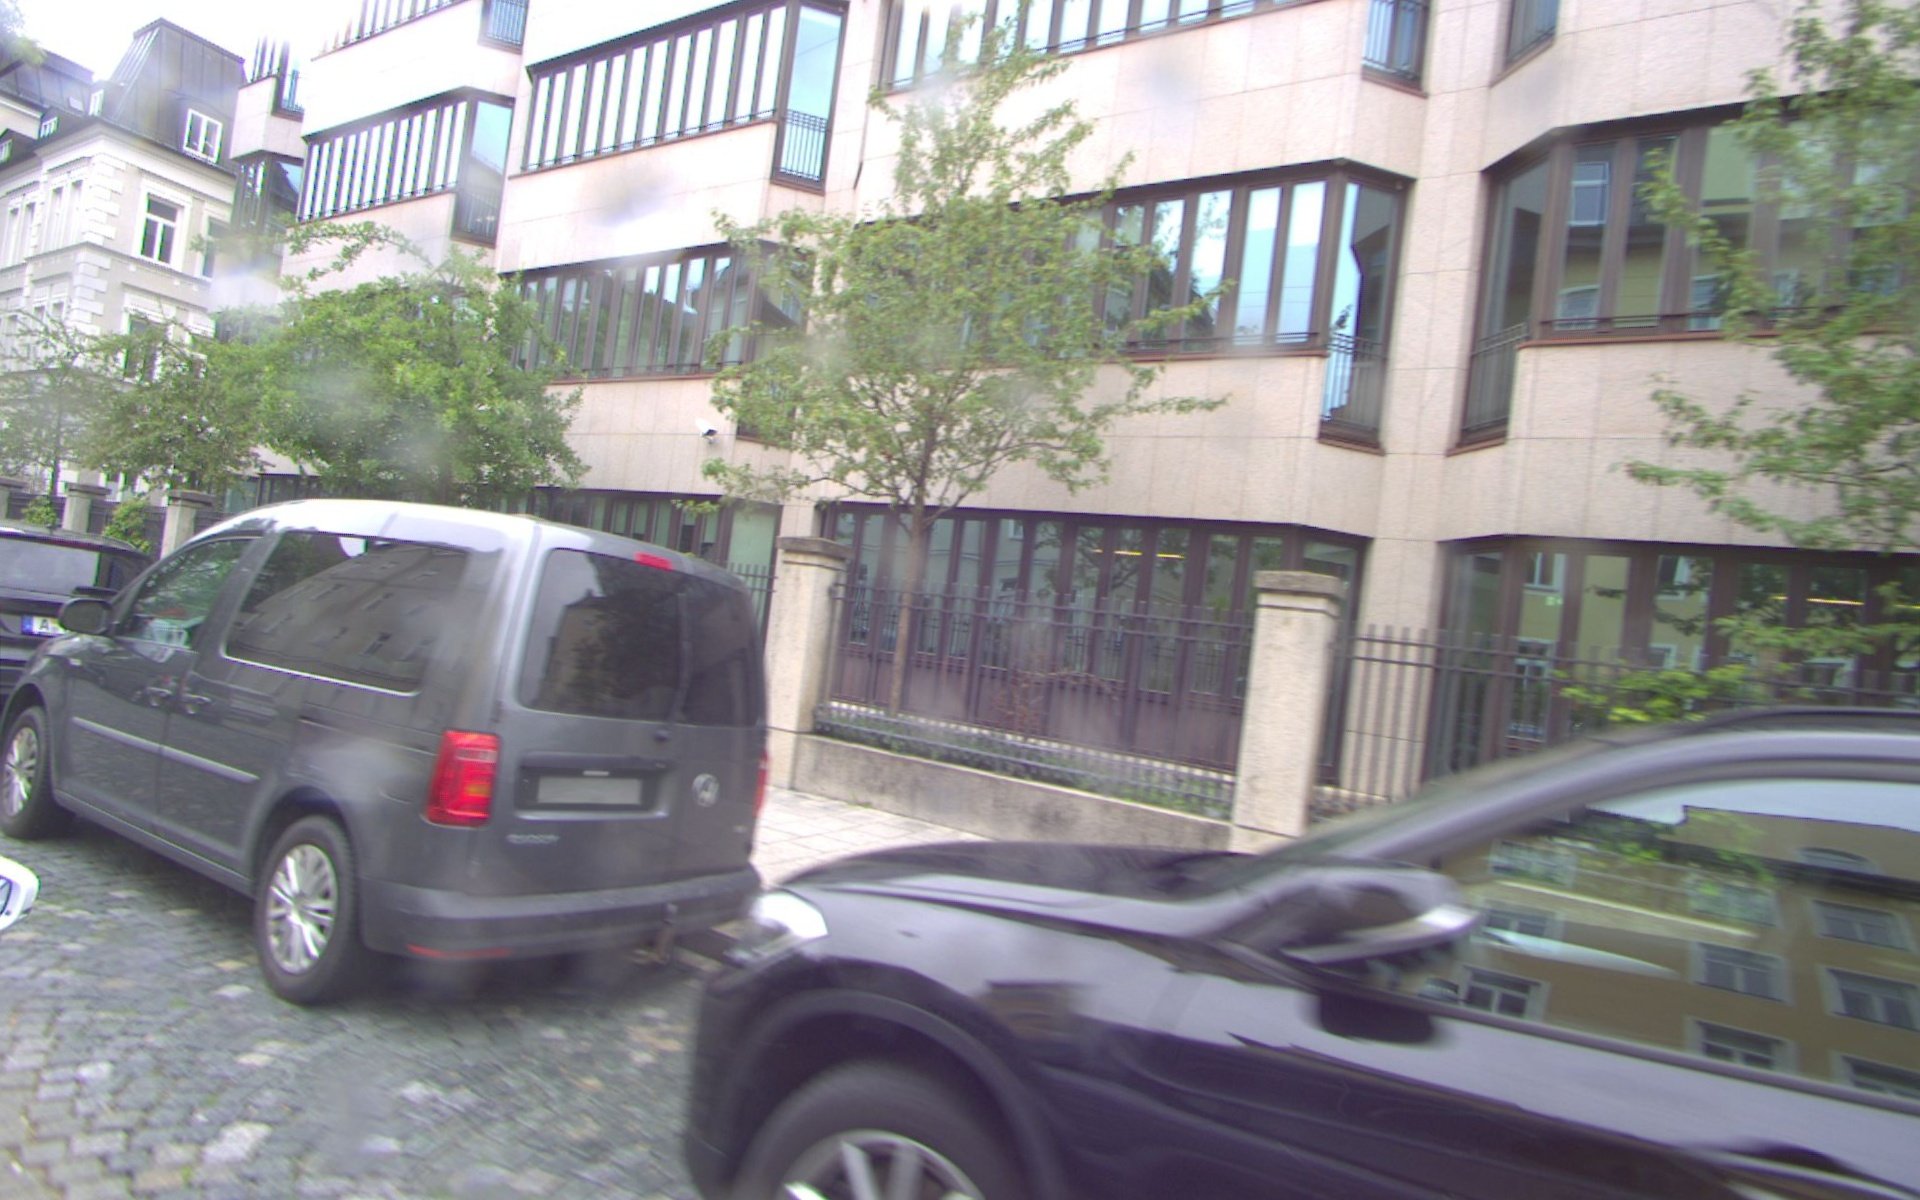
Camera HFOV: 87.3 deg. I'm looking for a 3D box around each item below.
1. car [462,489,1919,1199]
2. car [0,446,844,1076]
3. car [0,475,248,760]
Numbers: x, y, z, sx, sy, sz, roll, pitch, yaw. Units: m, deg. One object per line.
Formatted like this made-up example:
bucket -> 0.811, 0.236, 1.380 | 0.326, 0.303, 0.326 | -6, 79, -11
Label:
car -> 1.431, 0.944, 1.930 | 4.734, 1.718, 1.867 | 6, -6, 32
car -> -3.001, 0.441, 4.892 | 4.434, 1.813, 1.796 | 6, -6, 31
car -> -7.924, -0.051, 7.908 | 4.581, 1.751, 1.881 | 6, -6, 31
